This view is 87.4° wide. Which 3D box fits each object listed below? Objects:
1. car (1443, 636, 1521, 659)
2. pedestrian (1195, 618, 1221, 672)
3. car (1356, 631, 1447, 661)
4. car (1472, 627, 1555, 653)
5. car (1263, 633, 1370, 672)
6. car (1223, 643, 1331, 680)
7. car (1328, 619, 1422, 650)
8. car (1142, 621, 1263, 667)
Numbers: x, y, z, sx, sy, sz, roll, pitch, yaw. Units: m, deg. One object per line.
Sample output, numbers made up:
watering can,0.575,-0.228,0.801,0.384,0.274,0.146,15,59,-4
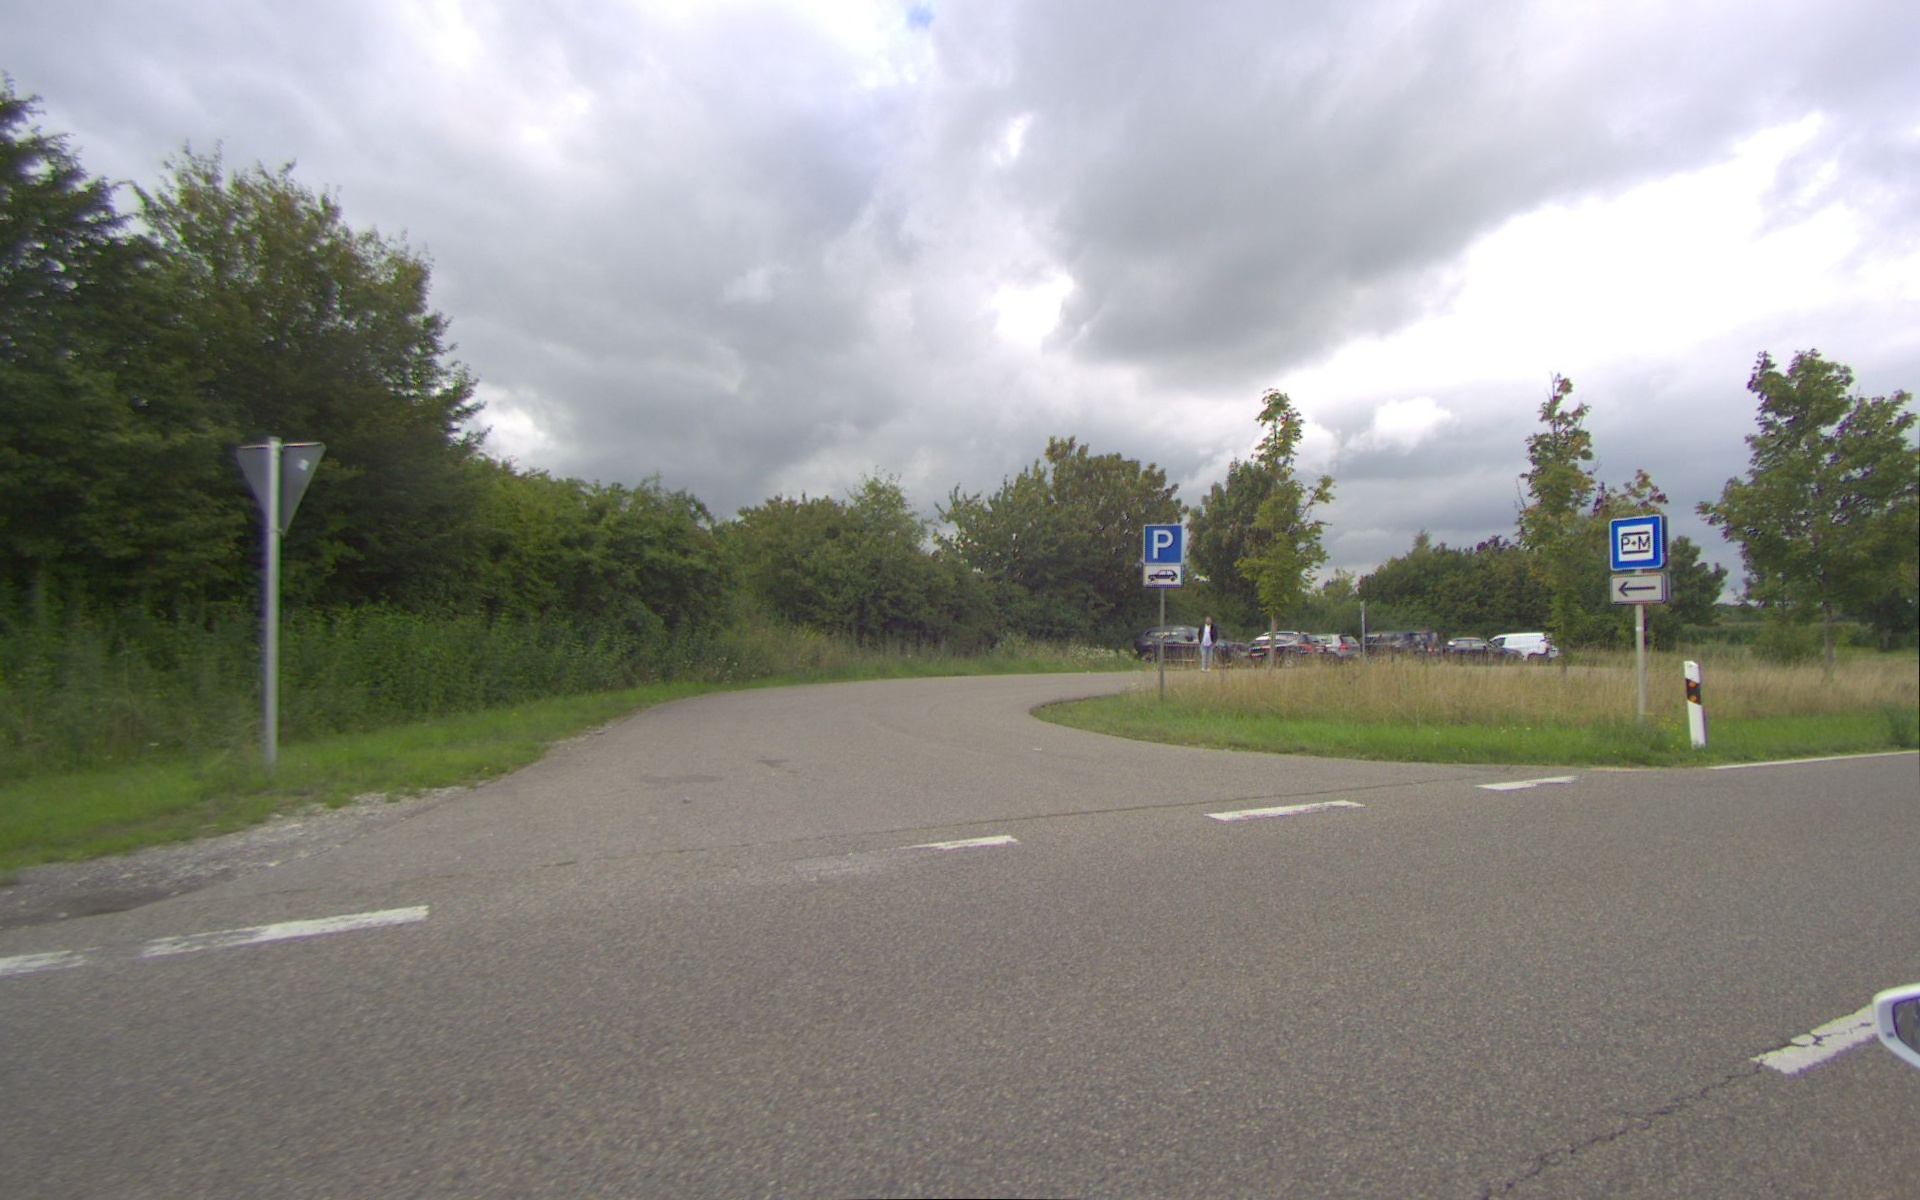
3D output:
car,28.727,2.608,55.345,1.321,1.182,3.577,1,-2,-39
pedestrian,7.882,1.436,31.905,0.655,1.689,0.511,1,-1,-37
car,22.036,2.280,50.196,3.939,1.398,1.469,-1,-2,40
car,31.413,2.260,57.060,3.946,1.398,1.467,-1,-2,45
car,15.774,2.272,44.570,1.743,1.587,4.207,1,-2,-39
car,13.211,2.534,42.007,1.809,1.398,3.954,1,-2,-40
car,19.803,1.615,48.014,3.938,1.398,1.470,-1,-2,39
car,9.100,1.621,37.975,1.745,1.587,4.201,2,-2,-43
